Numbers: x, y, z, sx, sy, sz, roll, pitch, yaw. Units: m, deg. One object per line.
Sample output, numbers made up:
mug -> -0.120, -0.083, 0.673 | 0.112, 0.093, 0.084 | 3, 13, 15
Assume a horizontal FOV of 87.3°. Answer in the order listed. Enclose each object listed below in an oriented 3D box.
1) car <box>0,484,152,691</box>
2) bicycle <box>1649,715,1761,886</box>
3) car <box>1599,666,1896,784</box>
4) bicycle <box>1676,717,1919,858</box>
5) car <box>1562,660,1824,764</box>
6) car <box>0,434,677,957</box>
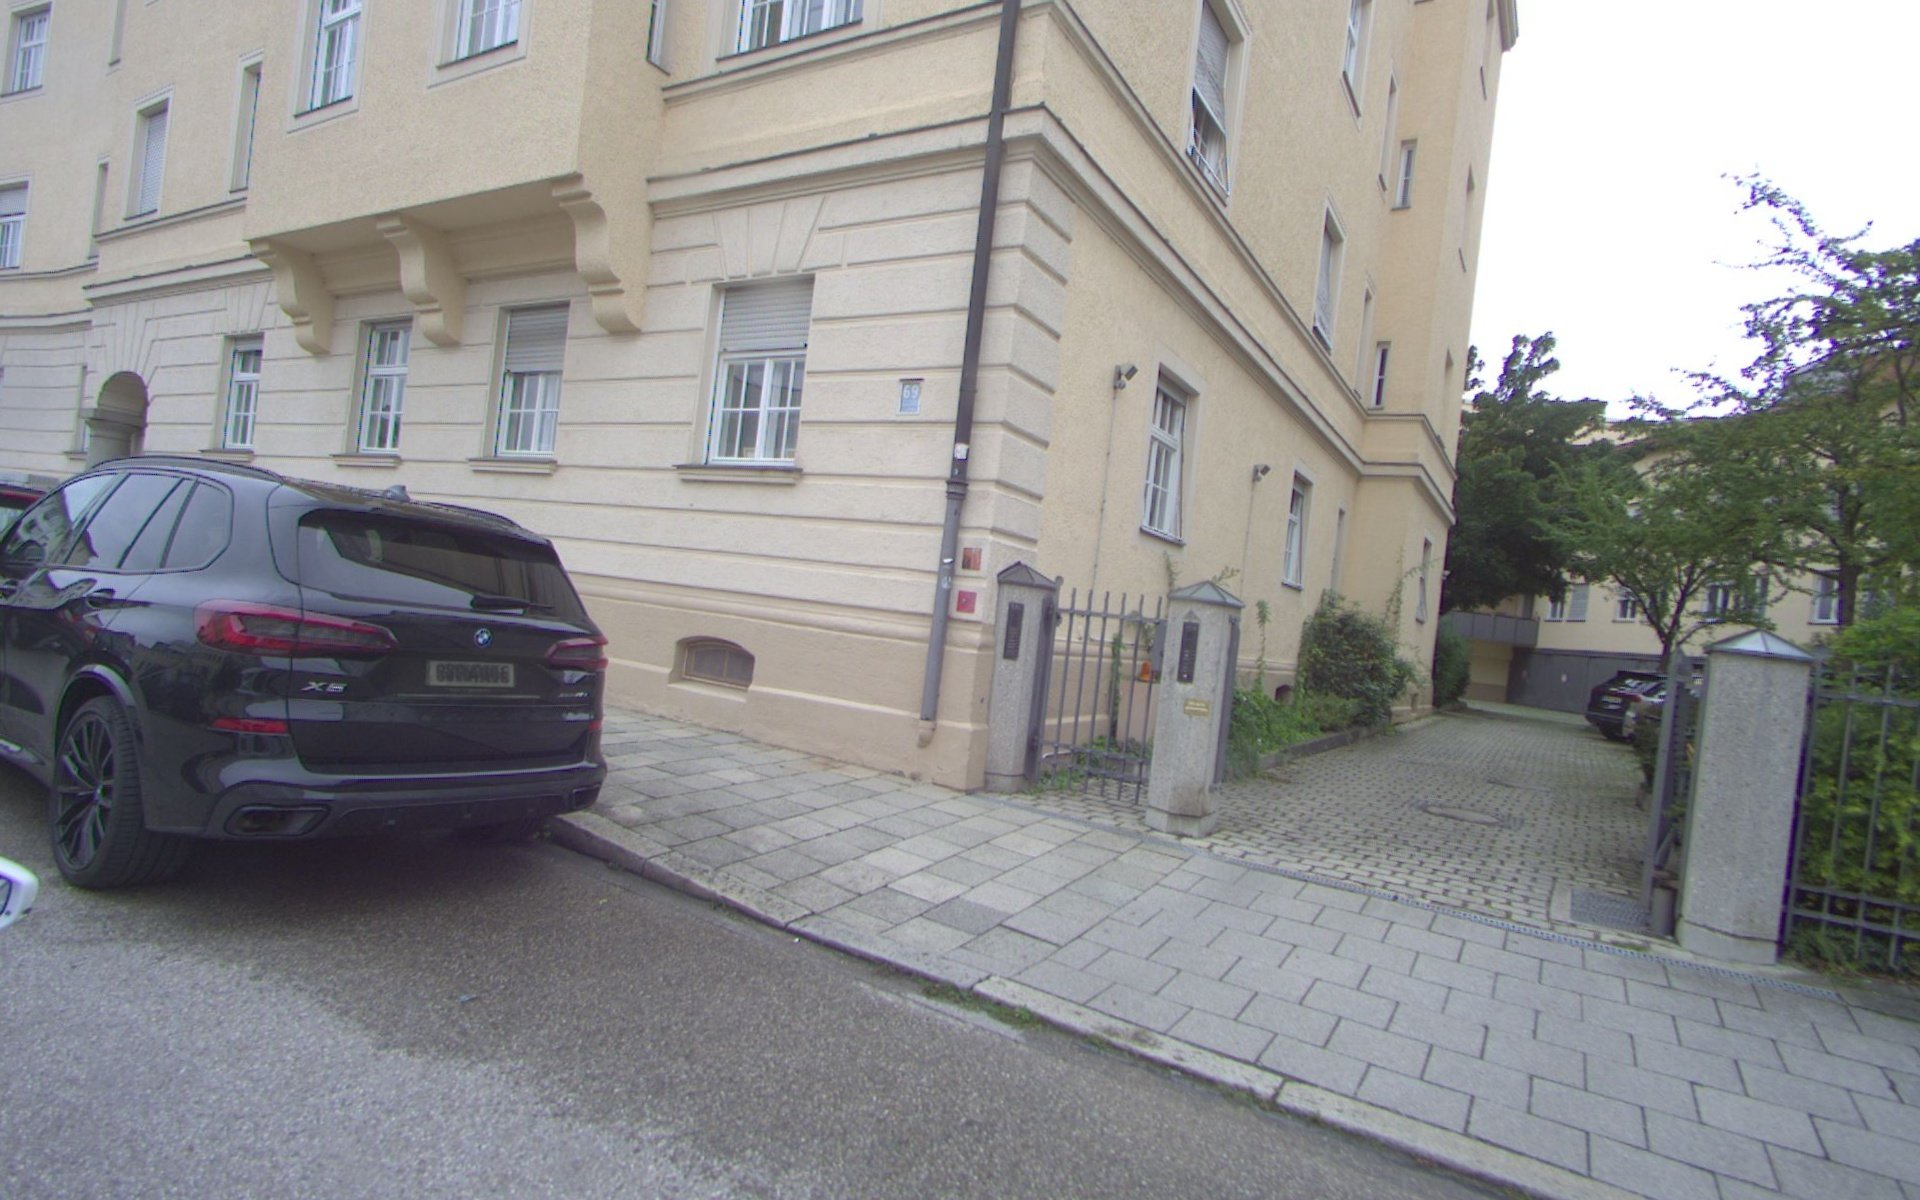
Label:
car -> -8.476, -0.230, 8.541 | 3.060, 1.541, 1.537 | 6, -2, 33
bicycle -> 6.112, 1.568, 8.249 | 0.572, 1.108, 1.870 | 6, 1, 38
car -> 14.430, 2.273, 18.547 | 4.168, 1.534, 1.780 | 6, 1, -7
bicycle -> 8.251, 1.801, 9.861 | 1.924, 1.026, 0.579 | 5, -2, 37
car -> 15.361, 2.329, 21.216 | 4.168, 1.568, 1.932 | 6, 1, -7
car -> -3.994, 0.195, 5.431 | 4.785, 1.736, 1.872 | 6, -2, 32
